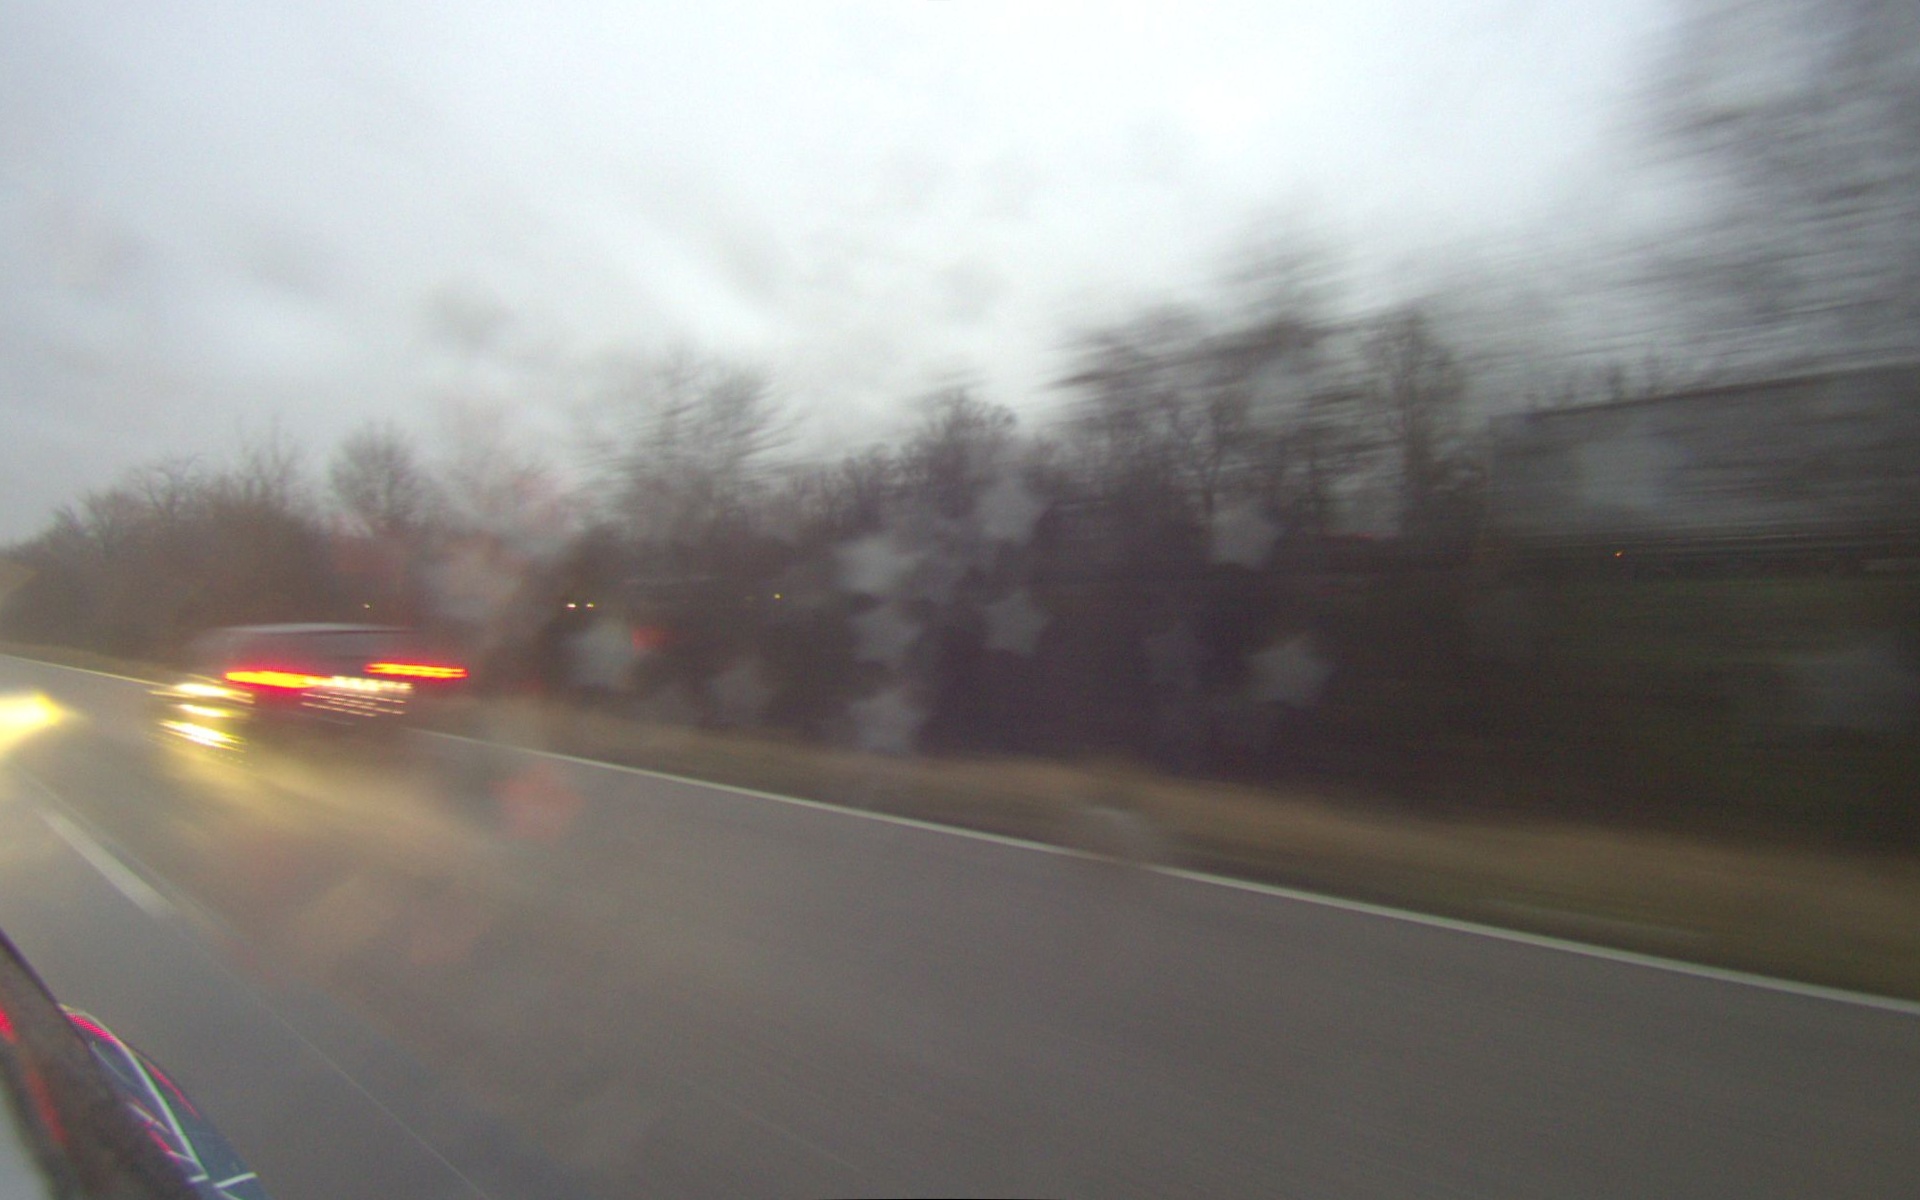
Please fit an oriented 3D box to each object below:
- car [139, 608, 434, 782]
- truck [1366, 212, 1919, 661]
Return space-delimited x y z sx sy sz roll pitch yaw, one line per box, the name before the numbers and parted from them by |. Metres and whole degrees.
car | -7.165 0.855 10.621 3.870 1.475 1.628 -1 -1 41
truck | 27.056 -2.966 13.304 40.131 7.771 7.465 -1 0 41
